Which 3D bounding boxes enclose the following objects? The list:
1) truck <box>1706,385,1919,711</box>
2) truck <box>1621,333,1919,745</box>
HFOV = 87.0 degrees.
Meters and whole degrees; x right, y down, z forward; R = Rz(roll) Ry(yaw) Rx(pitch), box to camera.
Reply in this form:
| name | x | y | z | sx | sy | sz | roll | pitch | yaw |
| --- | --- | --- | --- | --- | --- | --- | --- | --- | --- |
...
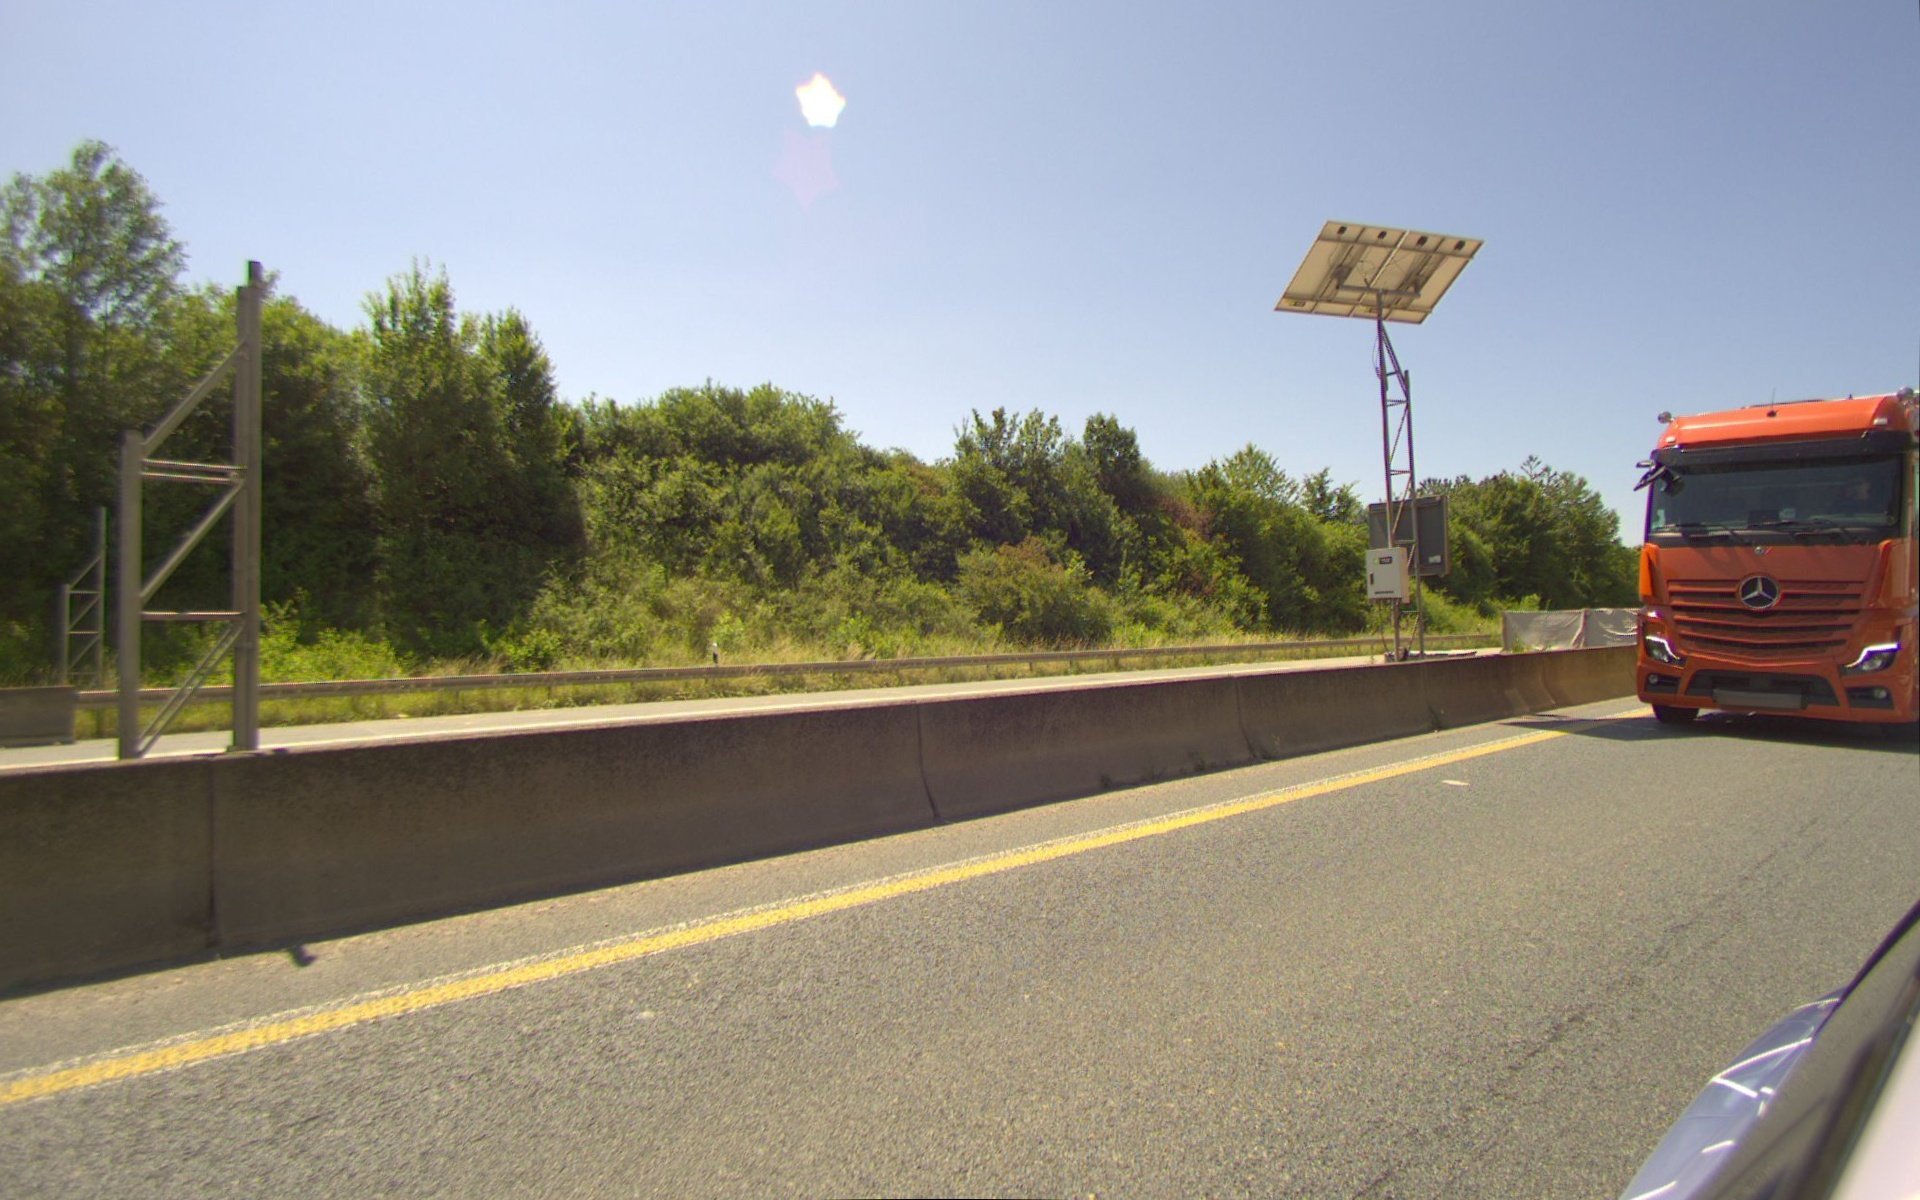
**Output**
| name | x | y | z | sx | sy | sz | roll | pitch | yaw |
| --- | --- | --- | --- | --- | --- | --- | --- | --- | --- |
| truck | 16.327 | -0.694 | 17.535 | 12.988 | 4.061 | 2.686 | -1 | 0 | -41 |
| truck | 11.177 | -0.619 | 13.051 | 6.608 | 4.061 | 2.687 | 0 | 0 | -41 |
